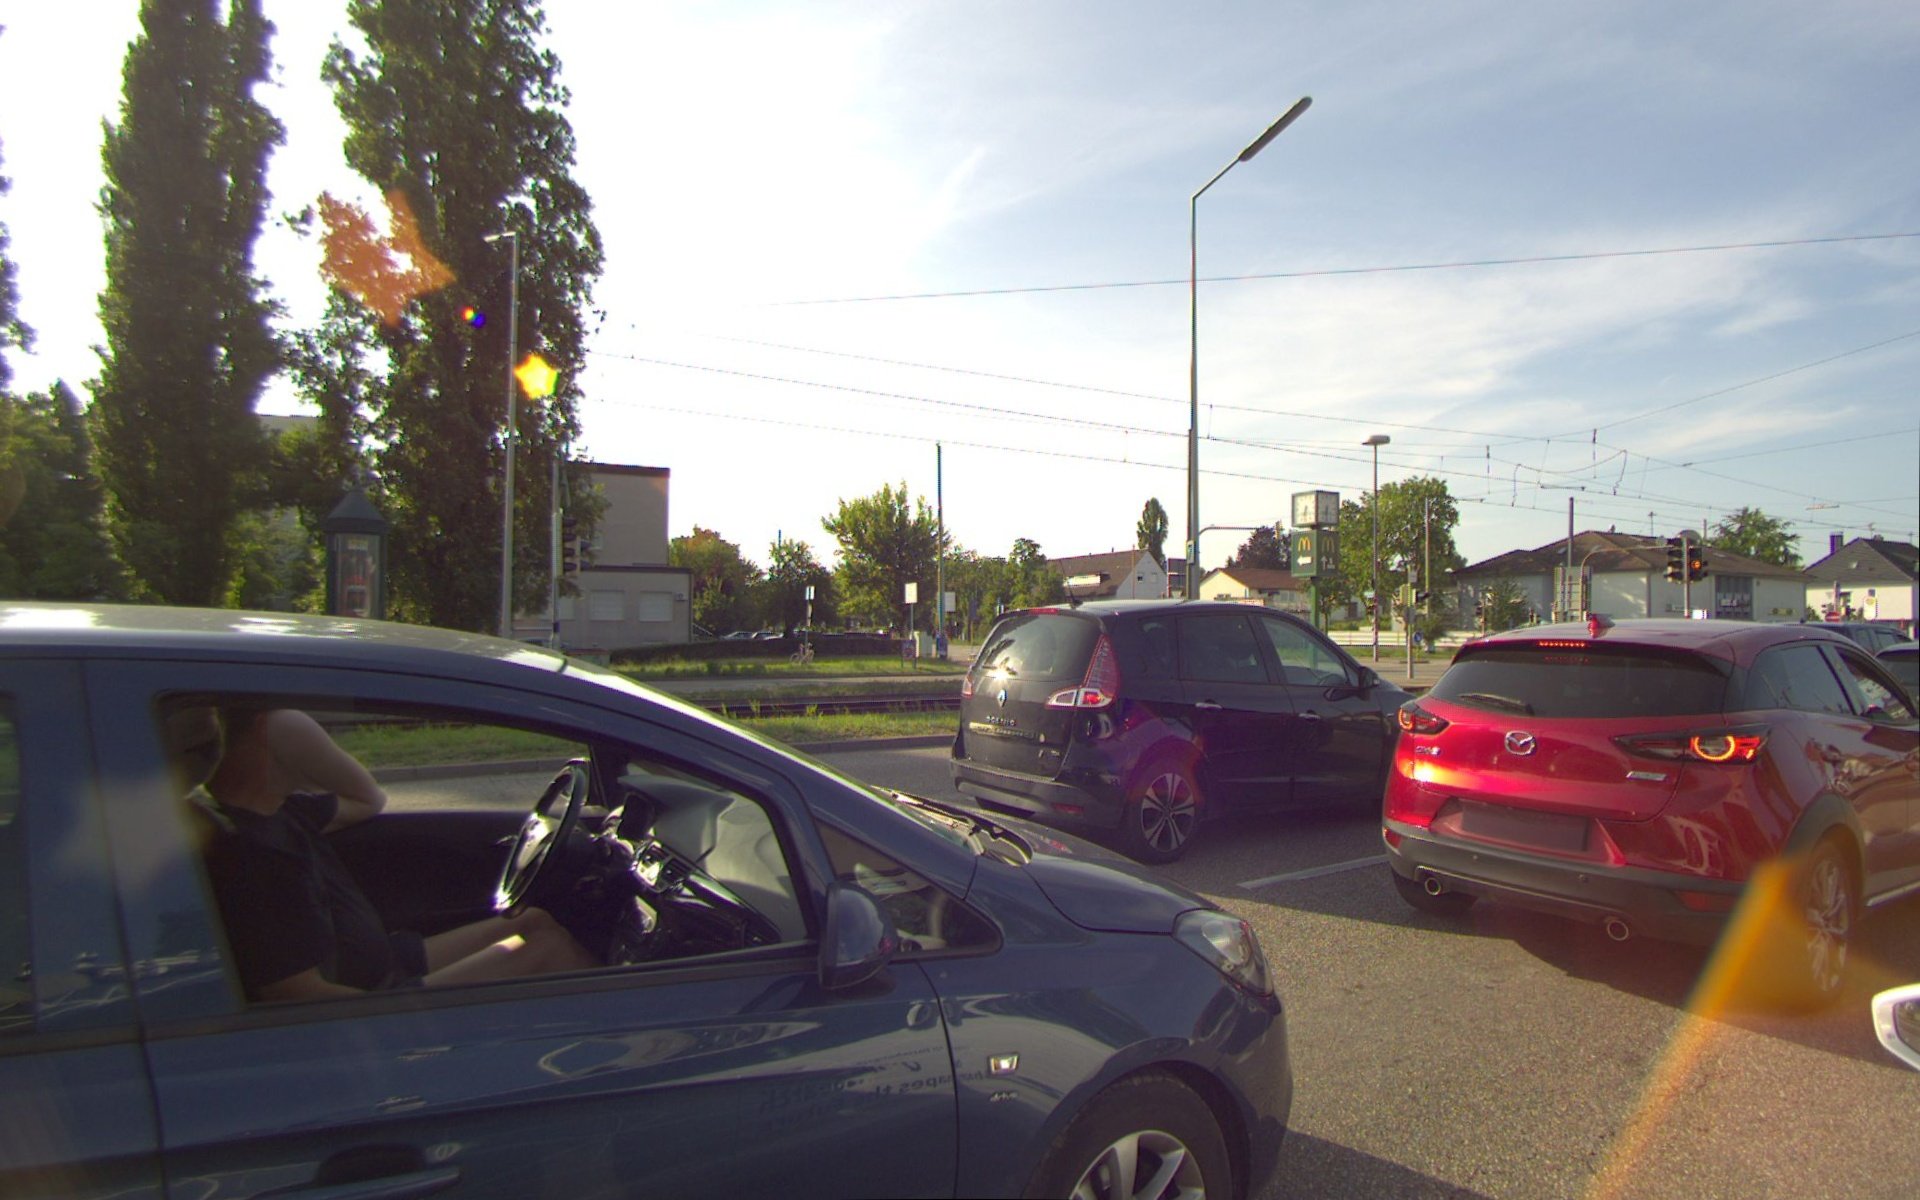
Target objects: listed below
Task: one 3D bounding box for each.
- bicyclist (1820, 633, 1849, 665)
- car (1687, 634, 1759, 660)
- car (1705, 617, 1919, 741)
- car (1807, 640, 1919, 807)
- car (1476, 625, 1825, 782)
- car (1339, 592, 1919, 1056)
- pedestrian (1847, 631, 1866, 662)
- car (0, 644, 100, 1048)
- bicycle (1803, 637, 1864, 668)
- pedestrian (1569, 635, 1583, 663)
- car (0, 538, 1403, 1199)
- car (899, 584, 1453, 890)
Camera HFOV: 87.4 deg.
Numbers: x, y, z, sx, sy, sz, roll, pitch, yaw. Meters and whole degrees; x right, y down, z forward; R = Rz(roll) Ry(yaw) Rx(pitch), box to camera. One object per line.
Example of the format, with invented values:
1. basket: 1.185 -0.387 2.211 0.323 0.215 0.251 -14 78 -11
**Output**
1. bicyclist: 41.140 2.287 47.240 1.128 1.450 0.876 2 -1 -40
2. car: 45.927 2.816 60.425 4.557 1.528 1.983 1 -2 -32
3. car: 13.413 1.131 15.369 4.688 1.673 1.500 1 -2 -30
4. car: 9.768 1.083 9.469 3.784 1.415 1.633 1 -2 -32
5. car: 8.159 1.074 11.761 4.501 1.528 1.691 1 -1 -31
6. car: 3.925 0.845 5.240 3.936 1.572 1.696 2 -3 -34
7. pedestrian: 43.631 2.253 48.885 0.542 1.450 0.574 2 -1 -37
8. car: -5.029 0.775 2.771 3.806 1.222 1.721 1 0 -33
9. bicycle: 41.108 2.444 47.286 1.100 1.365 2.056 2 -1 -40
10. pedestrian: 35.332 2.811 57.599 0.533 1.620 0.509 1 -2 -31
11. car: -1.133 0.729 1.888 4.181 1.525 1.730 1 -2 -36
12. car: 1.721 0.812 7.444 4.043 1.693 1.752 1 -2 -35
